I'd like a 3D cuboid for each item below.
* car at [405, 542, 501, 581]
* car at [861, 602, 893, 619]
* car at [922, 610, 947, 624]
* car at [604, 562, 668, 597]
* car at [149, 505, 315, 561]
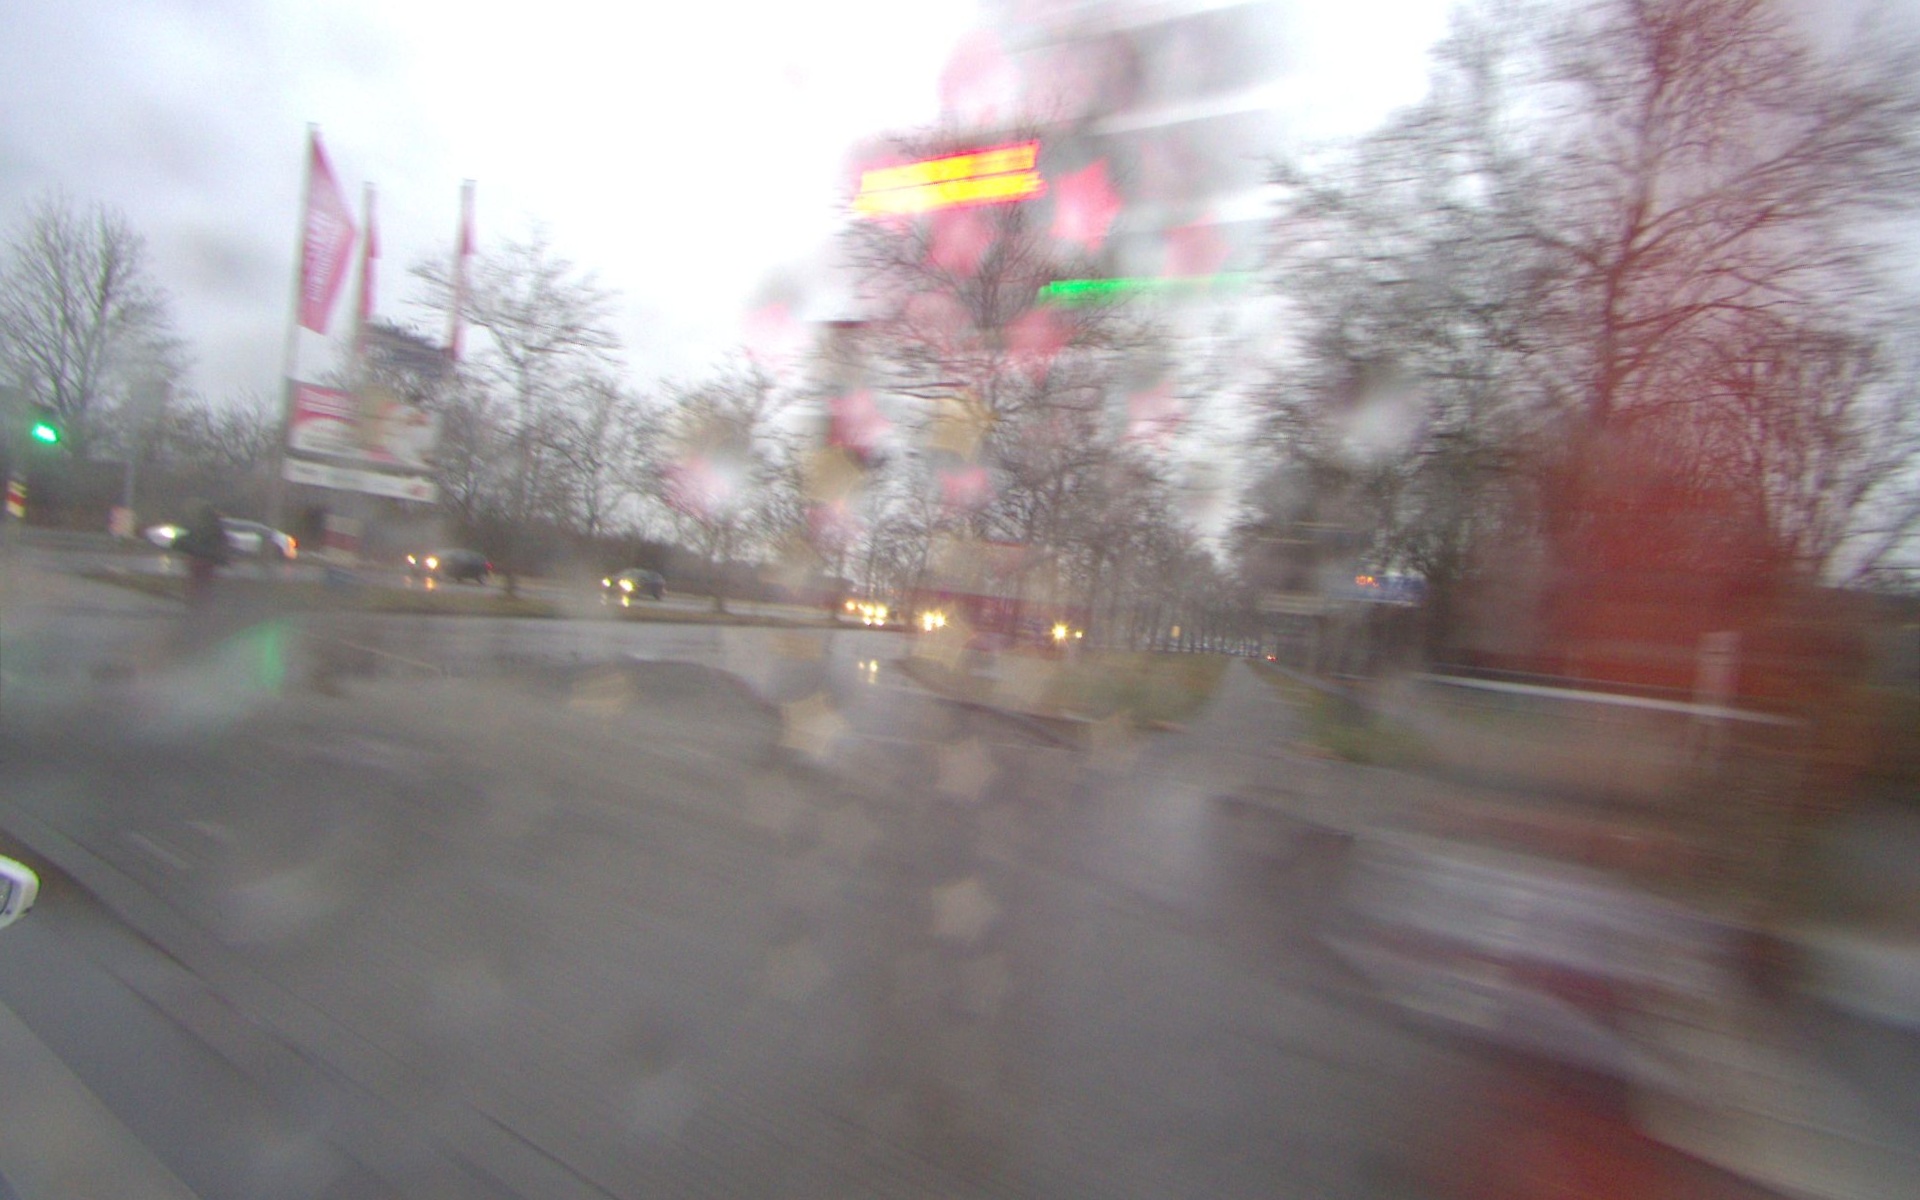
[{"bbox_3d":[-23.492,-1.761,46.752,1.606,1.325,4.002,7,-1,16],"label":"car"},{"bbox_3d":[-8.359,1.089,101.627,1.627,1.361,3.891,7,-1,18],"label":"car"},{"bbox_3d":[-3.016,2.074,119.824,1.627,1.361,3.891,7,-1,18],"label":"car"},{"bbox_3d":[-19.635,-1.220,61.118,1.627,1.655,3.891,7,-1,18],"label":"car"},{"bbox_3d":[-27.615,-2.520,38.286,1.857,1.392,4.734,7,-1,41],"label":"car"}]
